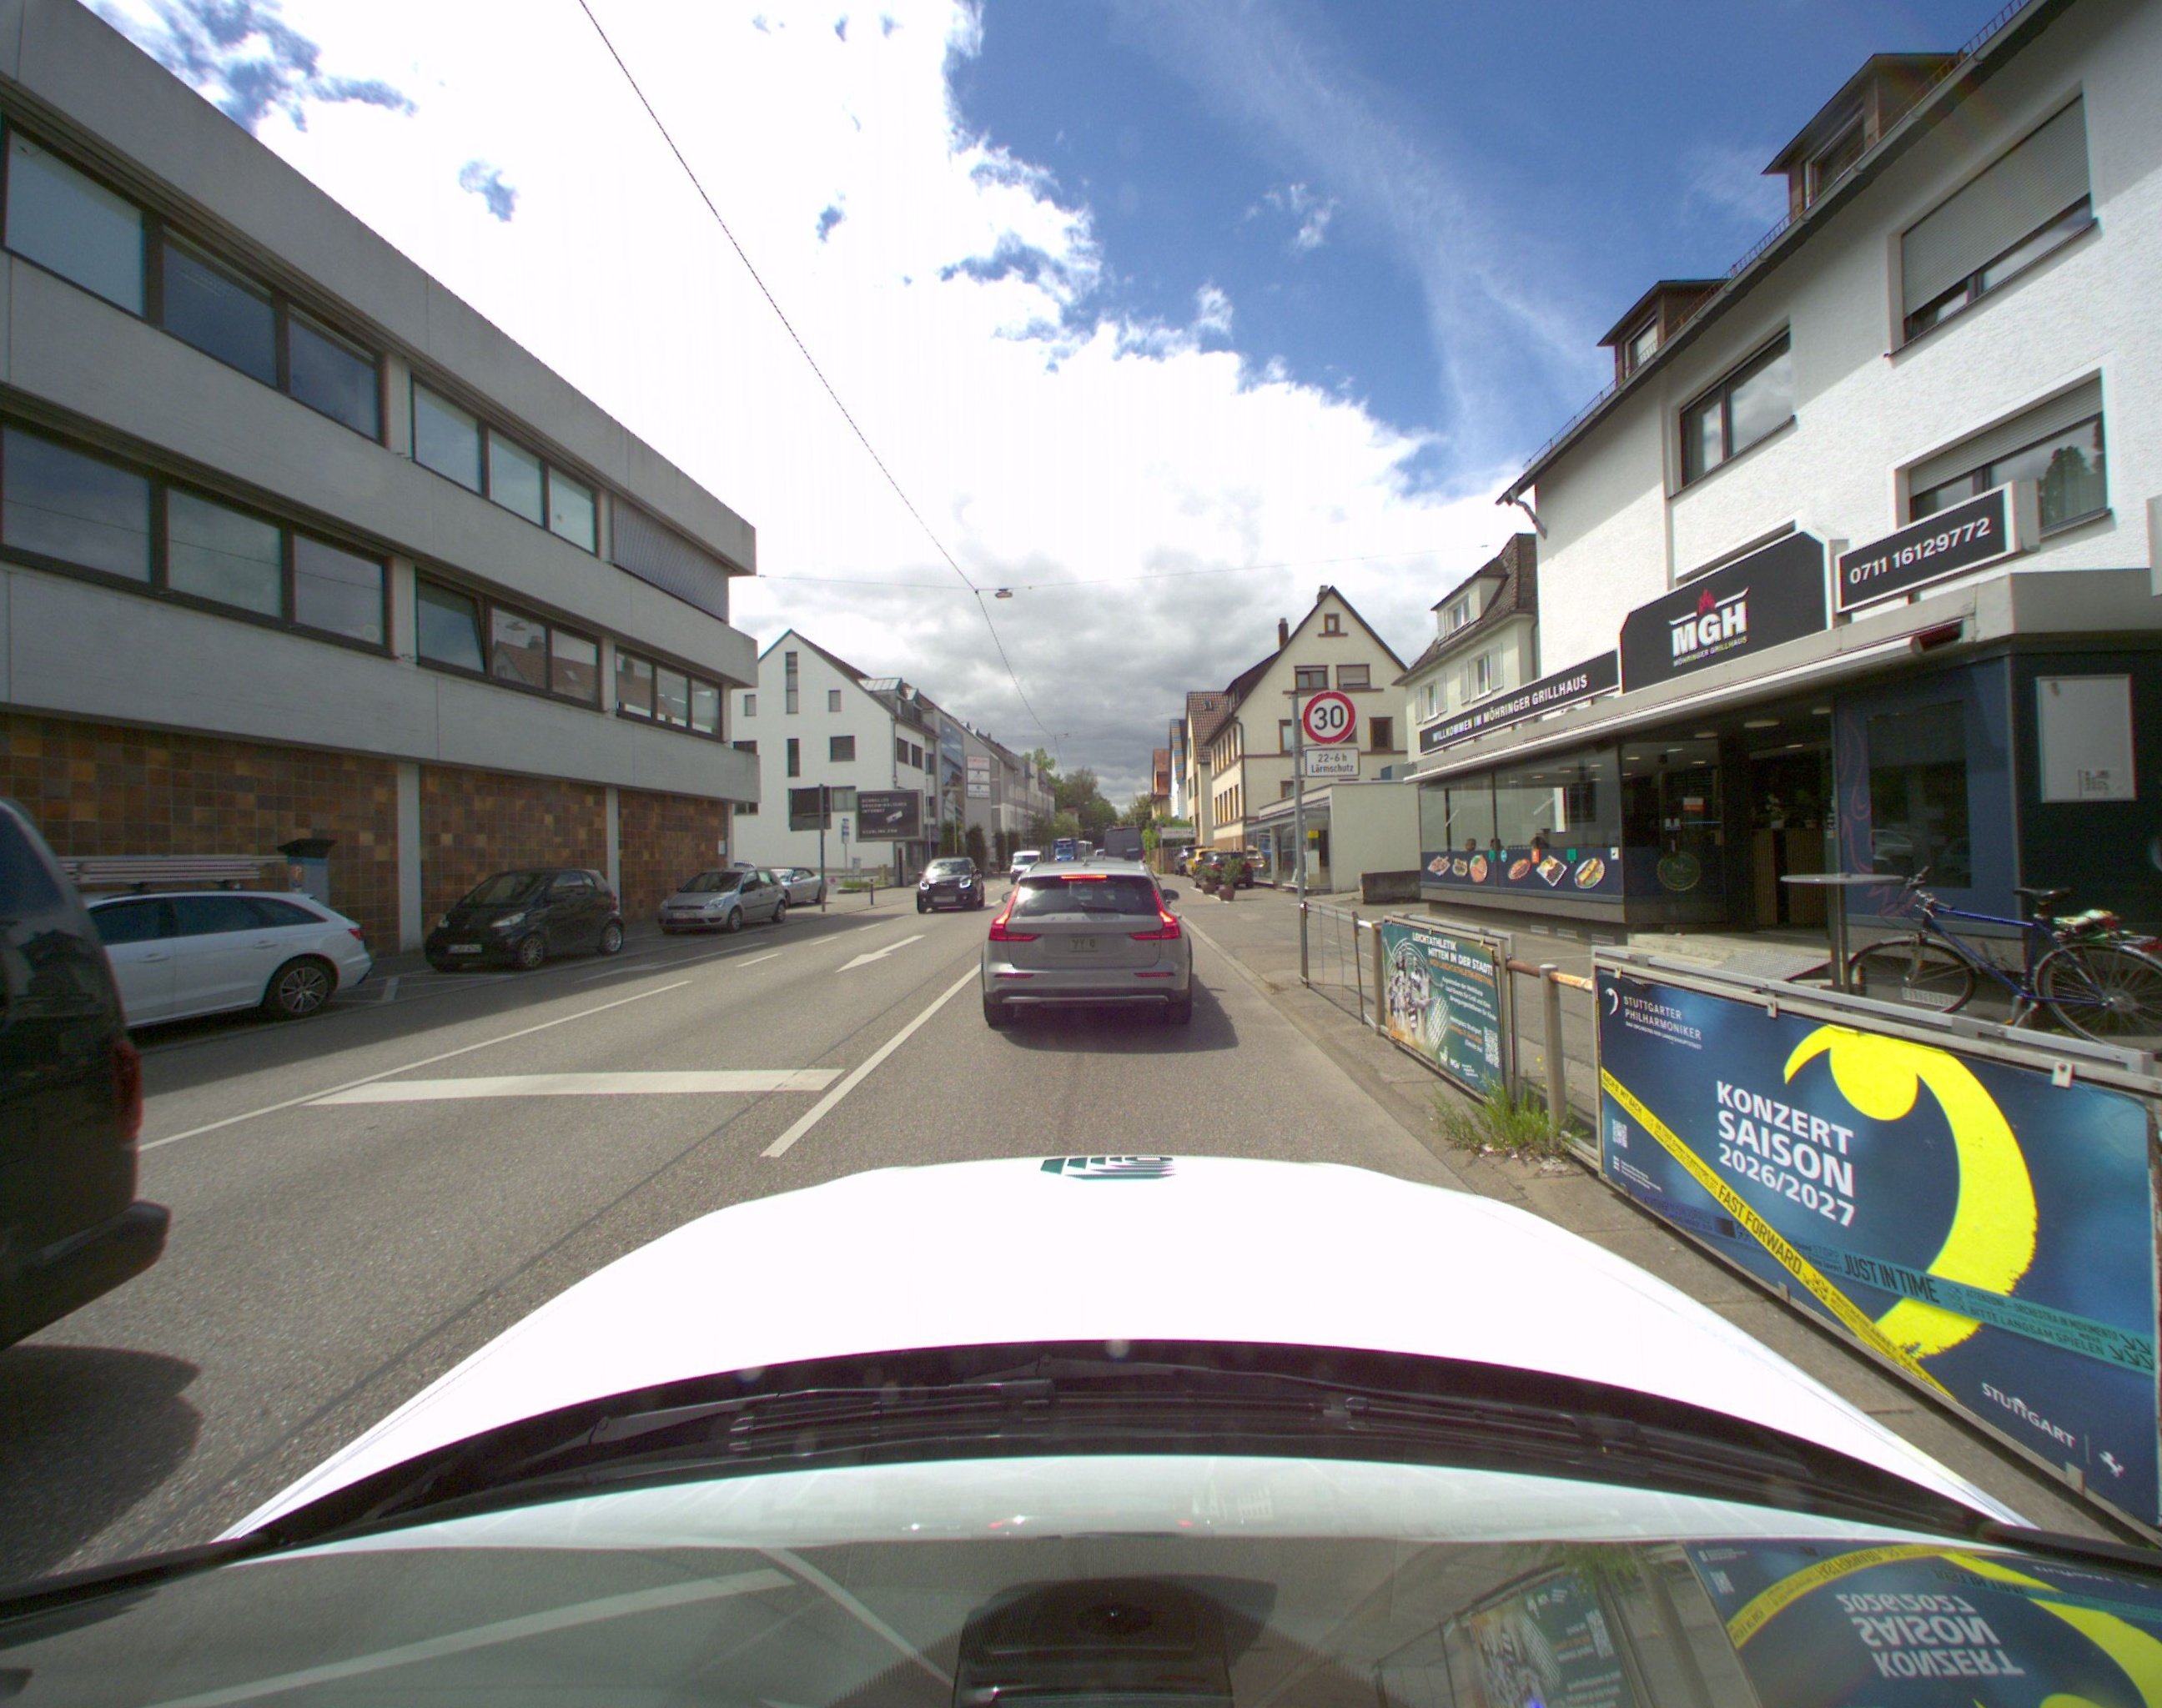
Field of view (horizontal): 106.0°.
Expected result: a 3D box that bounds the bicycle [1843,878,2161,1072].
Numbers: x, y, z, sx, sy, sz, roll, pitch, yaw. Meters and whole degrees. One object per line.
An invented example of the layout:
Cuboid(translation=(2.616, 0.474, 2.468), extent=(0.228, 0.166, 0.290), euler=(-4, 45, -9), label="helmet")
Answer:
Cuboid(translation=(6.141, 0.700, 5.403), extent=(0.474, 1.028, 1.632), euler=(-2, 0, -7), label="bicycle")

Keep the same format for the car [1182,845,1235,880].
Cuboid(translation=(6.128, 0.359, 39.697), extent=(1.871, 1.447, 4.307), euler=(-2, 2, 0), label="car")

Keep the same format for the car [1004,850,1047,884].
Cuboid(translation=(-3.141, 0.708, 46.860), extent=(1.938, 1.821, 4.280), euler=(-2, 0, 2), label="car")

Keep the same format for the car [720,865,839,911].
Cuboid(translation=(-10.489, 1.132, 28.757), extent=(1.941, 1.358, 4.863), euler=(-2, 0, 6), label="car")

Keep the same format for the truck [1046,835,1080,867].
Cuboid(translation=(-1.763, -0.301, 83.633), extent=(2.842, 3.093, 8.095), euler=(-2, 0, 3), label="truck")

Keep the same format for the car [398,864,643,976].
Cuboid(translation=(-8.985, 0.987, 13.376), extent=(1.728, 1.556, 3.061), euler=(-1, 0, 5), label="car")

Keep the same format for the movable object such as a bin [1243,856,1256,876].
Cuboid(translation=(7.769, 0.553, 37.572), extent=(0.498, 0.925, 0.599), euler=(-2, 0, 5), label="movable object such as a bin")

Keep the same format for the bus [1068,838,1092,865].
Cuboid(translation=(-0.043, -0.278, 104.751), extent=(2.672, 3.163, 10.188), euler=(-2, 0, 2), label="bus")

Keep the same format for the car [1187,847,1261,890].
Cuboid(translation=(5.373, 0.517, 31.198), extent=(1.962, 1.447, 4.535), euler=(-2, 0, 0), label="car")

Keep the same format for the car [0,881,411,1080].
Cuboid(translation=(-9.488, 1.079, 7.619), extent=(2.034, 1.444, 4.959), euler=(-1, 0, 5), label="car")

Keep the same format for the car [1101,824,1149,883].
Cuboid(translation=(2.248, -0.041, 42.804), extent=(2.244, 2.795, 5.571), euler=(-2, 0, 2), label="car")

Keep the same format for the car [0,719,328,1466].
Cuboid(translation=(-3.728, 0.632, 0.471), extent=(1.942, 1.877, 4.877), euler=(-2, 0, 1), label="car")

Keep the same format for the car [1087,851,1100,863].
Cuboid(translation=(2.330, 0.570, 148.416), extent=(2.098, 2.121, 4.766), euler=(-3, 0, 1), label="car")

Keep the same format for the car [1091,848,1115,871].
Cuboid(translation=(1.983, 0.466, 72.032), extent=(1.985, 2.013, 4.004), euler=(-1, 0, 4), label="car")

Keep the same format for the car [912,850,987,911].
Cuboid(translation=(-3.778, 0.730, 23.845), extent=(1.671, 1.635, 2.833), euler=(-2, 0, 0), label="car")

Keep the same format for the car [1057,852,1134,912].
Cuboid(translation=(0.470, 0.684, 22.178), extent=(1.888, 1.446, 3.972), euler=(-1, 0, 3), label="car")

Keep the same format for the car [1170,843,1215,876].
Cuboid(translation=(6.035, 0.252, 44.491), extent=(1.854, 1.612, 4.587), euler=(-3, 0, 1), label="car")

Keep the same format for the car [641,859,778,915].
Cuboid(translation=(-13.091, 1.108, 29.120), extent=(1.940, 1.619, 4.941), euler=(-4, 0, 8), label="car")

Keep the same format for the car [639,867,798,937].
Cuboid(translation=(-8.573, 1.073, 19.712), extent=(1.714, 1.422, 4.153), euler=(-1, 0, 4), label="car")

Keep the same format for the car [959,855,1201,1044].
Cuboid(translation=(0.116, 0.759, 8.400), extent=(1.888, 1.453, 3.972), euler=(-1, 0, 4), label="car")

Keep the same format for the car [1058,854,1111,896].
Cuboid(translation=(0.102, 0.756, 31.292), extent=(1.891, 1.446, 3.967), euler=(-1, 0, -1), label="car")
